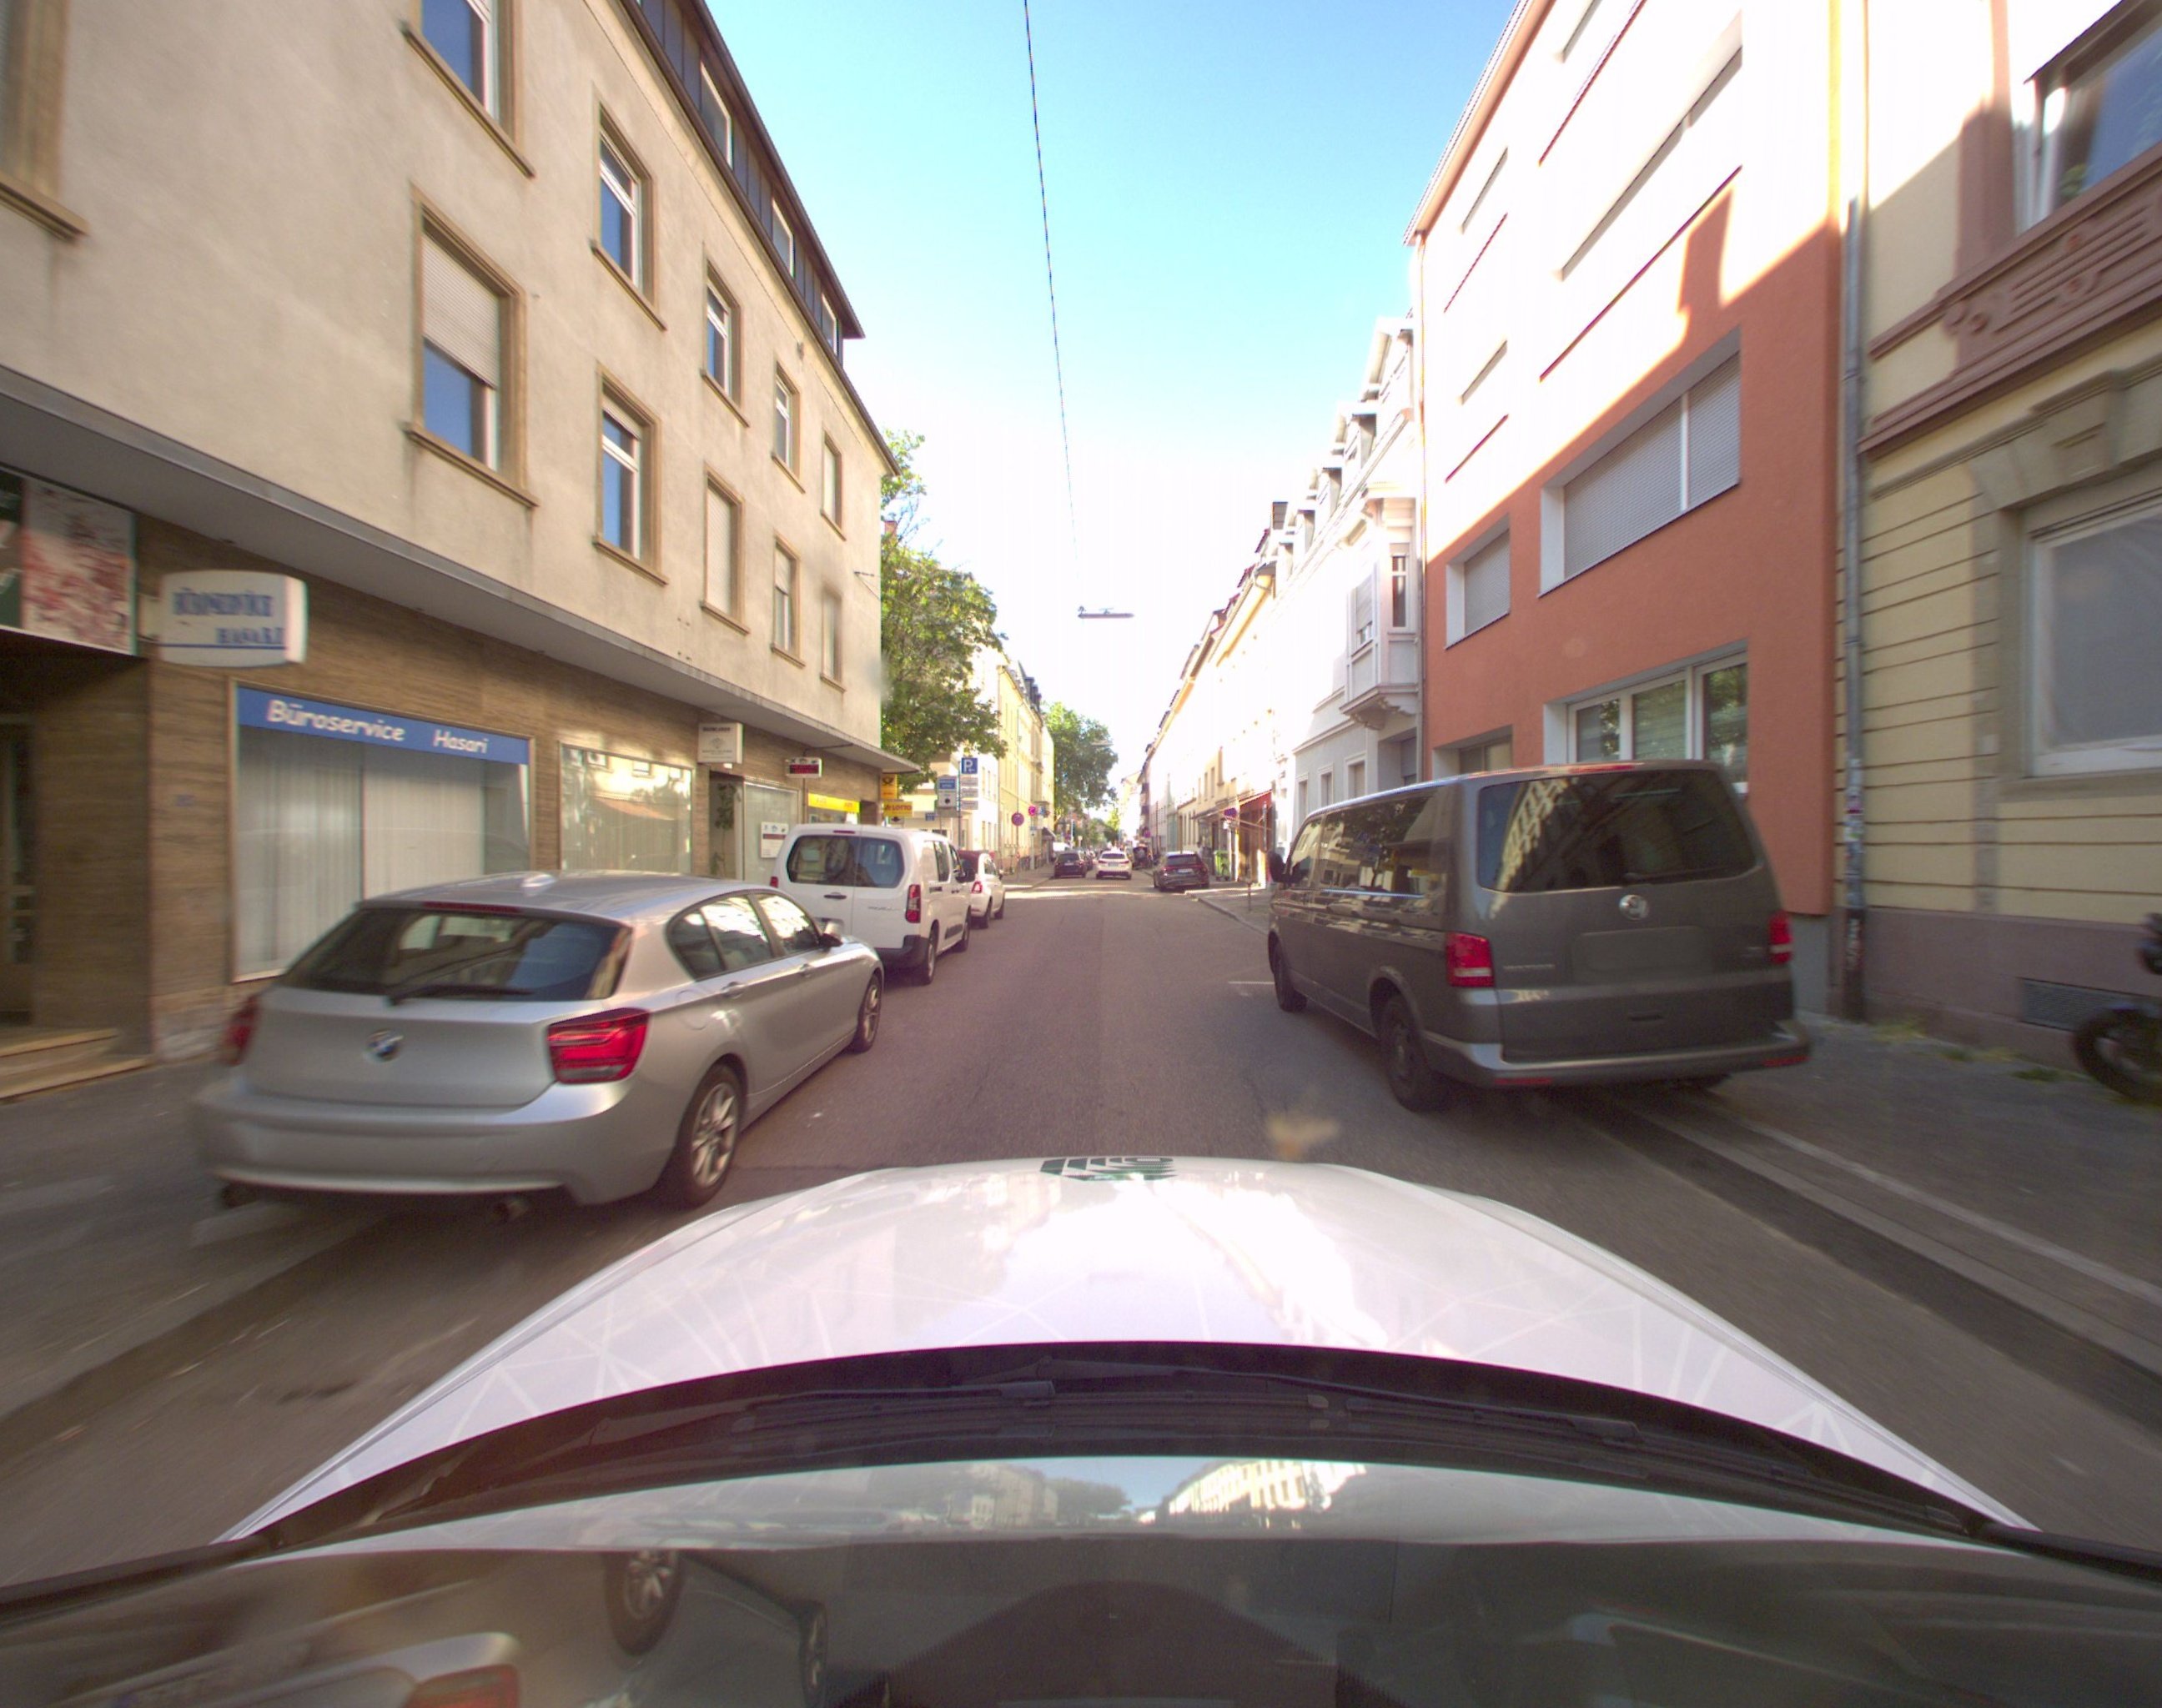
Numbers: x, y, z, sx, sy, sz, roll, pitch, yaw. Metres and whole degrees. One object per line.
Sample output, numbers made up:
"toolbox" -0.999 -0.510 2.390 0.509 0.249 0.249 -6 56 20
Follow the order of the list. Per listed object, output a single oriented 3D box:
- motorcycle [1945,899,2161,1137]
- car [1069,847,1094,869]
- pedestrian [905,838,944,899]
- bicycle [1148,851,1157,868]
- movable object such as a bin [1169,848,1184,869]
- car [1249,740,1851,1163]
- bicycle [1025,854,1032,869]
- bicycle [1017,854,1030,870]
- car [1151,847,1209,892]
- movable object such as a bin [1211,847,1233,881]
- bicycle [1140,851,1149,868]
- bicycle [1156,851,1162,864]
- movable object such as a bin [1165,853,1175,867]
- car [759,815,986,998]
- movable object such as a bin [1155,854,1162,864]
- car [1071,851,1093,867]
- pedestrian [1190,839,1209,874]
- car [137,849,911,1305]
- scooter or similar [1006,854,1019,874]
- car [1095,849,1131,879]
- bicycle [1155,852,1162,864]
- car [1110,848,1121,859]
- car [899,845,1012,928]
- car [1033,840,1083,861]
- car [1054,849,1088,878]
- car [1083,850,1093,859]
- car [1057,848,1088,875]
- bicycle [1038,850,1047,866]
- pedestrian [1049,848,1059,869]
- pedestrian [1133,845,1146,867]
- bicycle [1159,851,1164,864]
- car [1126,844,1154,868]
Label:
"motorcycle" 5.264 0.771 3.476 0.634 1.044 2.363 0 -1 0
"car" 0.068 0.304 68.661 1.929 1.736 5.144 -1 0 2
"pedestrian" -4.796 0.430 25.044 0.907 1.832 1.246 0 -1 1
"bicycle" 5.651 0.415 64.254 0.572 1.271 2.202 -2 0 6
"movable object such as a bin" 6.757 0.346 57.492 0.834 1.389 1.297 -3 -2 0
"car" 2.800 0.465 6.428 1.963 2.028 4.899 1 0 1
"bicycle" -3.772 0.562 58.790 0.401 1.056 1.835 0 -1 -1
"bicycle" -3.928 0.553 55.442 0.358 1.028 1.923 -1 -1 11
"car" 3.744 0.542 31.508 1.794 1.579 4.899 1 0 2
"movable object such as a bin" 6.152 0.426 35.680 0.743 1.436 1.373 -3 0 3
"bicycle" 4.990 0.422 63.943 0.572 1.320 2.202 -1 0 5
"bicycle" 7.396 0.341 76.920 0.435 1.206 2.271 -1 -1 8
"movable object such as a bin" 7.011 0.450 64.084 0.793 1.096 0.642 0 -1 3
"car" -2.505 0.540 11.108 1.761 1.898 4.809 -2 0 0
"movable object such as a bin" 7.553 0.468 79.275 0.575 0.924 0.608 -3 0 1
"car" 0.087 0.471 74.461 1.838 1.417 4.819 -2 -1 2
"pedestrian" 6.459 0.141 44.336 0.650 1.860 0.744 -3 1 -20
"car" -2.421 0.767 5.104 1.659 1.523 4.489 -2 1 1
"scooter or similar" -4.076 0.594 48.447 0.452 1.181 1.693 0 -1 4
"car" 1.643 0.503 42.687 1.817 1.514 3.824 0 0 1
"bicycle" 7.415 0.359 78.009 0.566 1.153 1.871 0 -1 6
"car" 6.442 -0.086 152.642 1.937 1.948 4.076 1 0 -1
"car" -2.532 0.603 17.256 1.661 1.560 3.724 0 0 2
"car" -3.139 -0.431 112.810 6.711 2.555 2.147 3 -1 3
"car" -0.532 0.536 46.720 1.708 1.488 4.853 -3 0 1
"car" 1.299 0.099 149.509 1.763 1.588 3.727 0 1 1
"car" -0.503 0.436 52.582 1.737 1.615 4.606 -2 1 2
"bicycle" -3.258 0.350 68.734 0.508 1.277 1.868 0 -1 3
"pedestrian" -2.285 0.385 69.808 0.762 1.714 0.883 1 0 1
"pedestrian" 4.799 0.172 66.663 0.879 1.836 0.867 0 -1 -5
"bicycle" 7.478 0.330 75.582 0.403 1.206 2.162 0 -1 5
"car" 5.024 0.140 69.908 1.976 1.883 5.601 -4 0 1
